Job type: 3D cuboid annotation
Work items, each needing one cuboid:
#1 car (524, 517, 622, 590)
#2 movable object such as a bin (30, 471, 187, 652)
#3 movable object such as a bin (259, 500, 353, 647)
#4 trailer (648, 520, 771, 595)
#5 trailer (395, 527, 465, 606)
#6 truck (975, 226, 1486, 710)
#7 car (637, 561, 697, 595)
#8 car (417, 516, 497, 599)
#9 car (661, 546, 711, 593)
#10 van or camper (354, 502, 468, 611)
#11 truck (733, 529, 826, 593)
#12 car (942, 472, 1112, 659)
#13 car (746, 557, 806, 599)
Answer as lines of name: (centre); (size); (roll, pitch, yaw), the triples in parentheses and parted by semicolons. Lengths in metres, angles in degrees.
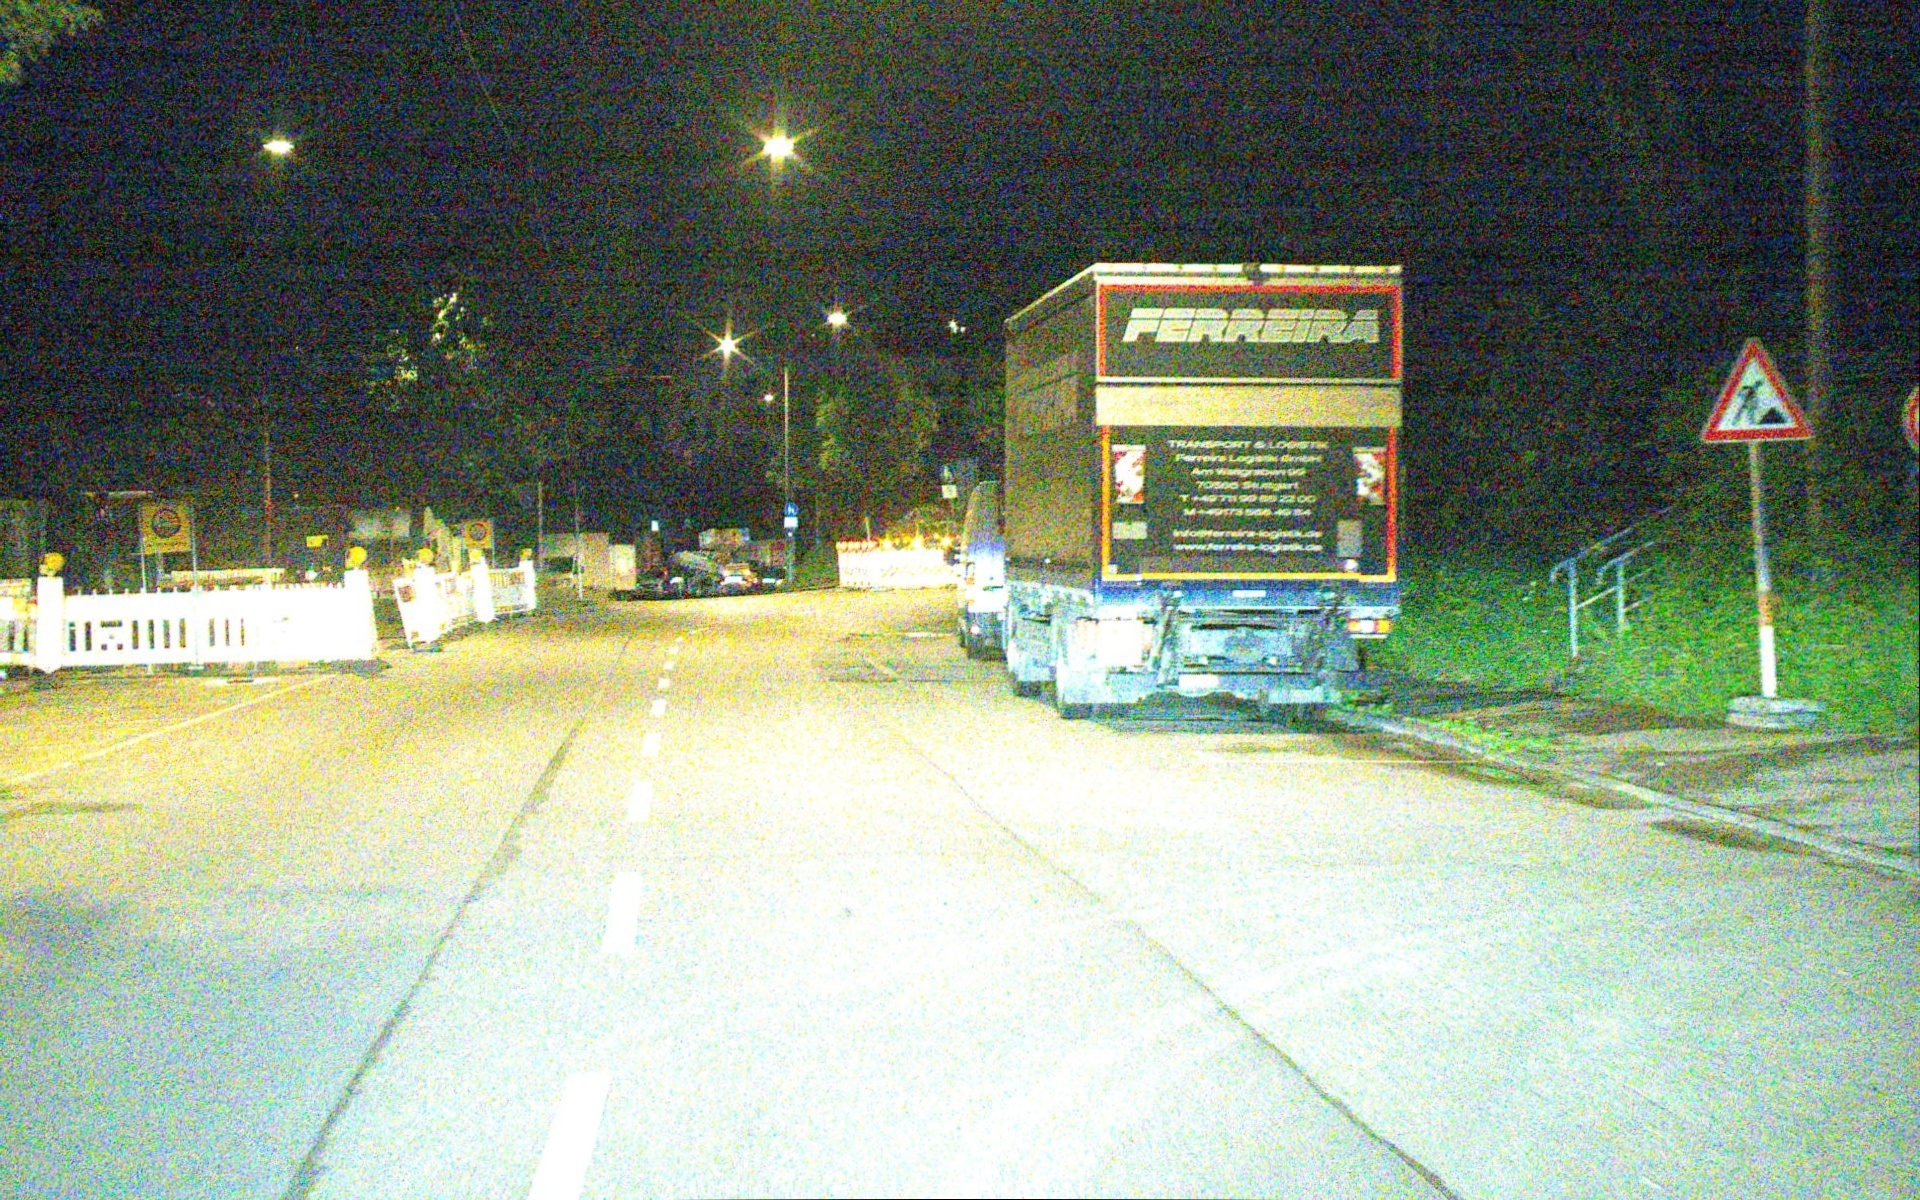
car: (-18.011, -2.193, 160.421); (2.520, 3.160, 7.135); (-3, 1, 9)
movable object such as a bin: (-12.232, -0.546, 49.311); (1.548, 2.459, 2.840); (-3, 1, -25)
movable object such as a bin: (-12.960, -0.567, 68.075); (1.570, 2.724, 3.702); (-4, 2, -11)
trailer: (-7.999, -1.330, 109.291); (1.559, 2.153, 5.221); (-4, 1, -32)
trailer: (-18.703, -1.203, 121.448); (1.993, 2.518, 3.569); (-3, 3, -4)
truck: (2.214, -1.156, 32.365); (3.323, 3.855, 9.329); (-1, 1, -5)
car: (-15.023, -1.105, 176.258); (1.994, 1.694, 4.204); (-1, 0, 11)
car: (-19.085, -1.625, 130.640); (2.518, 2.917, 7.203); (-3, 1, -6)
car: (-9.876, -1.098, 124.144); (1.720, 1.655, 4.000); (-1, 0, -4)
van or camper: (-16.843, -1.350, 105.824); (2.519, 3.083, 7.446); (-3, 1, -3)
truck: (-10.203, -2.245, 195.193); (1.995, 3.392, 8.971); (0, 2, 19)
car: (0.886, -0.556, 49.745); (2.108, 2.507, 6.372); (-1, 2, -2)
car: (-8.166, -0.982, 152.604); (1.721, 1.815, 3.998); (-1, 0, 11)
